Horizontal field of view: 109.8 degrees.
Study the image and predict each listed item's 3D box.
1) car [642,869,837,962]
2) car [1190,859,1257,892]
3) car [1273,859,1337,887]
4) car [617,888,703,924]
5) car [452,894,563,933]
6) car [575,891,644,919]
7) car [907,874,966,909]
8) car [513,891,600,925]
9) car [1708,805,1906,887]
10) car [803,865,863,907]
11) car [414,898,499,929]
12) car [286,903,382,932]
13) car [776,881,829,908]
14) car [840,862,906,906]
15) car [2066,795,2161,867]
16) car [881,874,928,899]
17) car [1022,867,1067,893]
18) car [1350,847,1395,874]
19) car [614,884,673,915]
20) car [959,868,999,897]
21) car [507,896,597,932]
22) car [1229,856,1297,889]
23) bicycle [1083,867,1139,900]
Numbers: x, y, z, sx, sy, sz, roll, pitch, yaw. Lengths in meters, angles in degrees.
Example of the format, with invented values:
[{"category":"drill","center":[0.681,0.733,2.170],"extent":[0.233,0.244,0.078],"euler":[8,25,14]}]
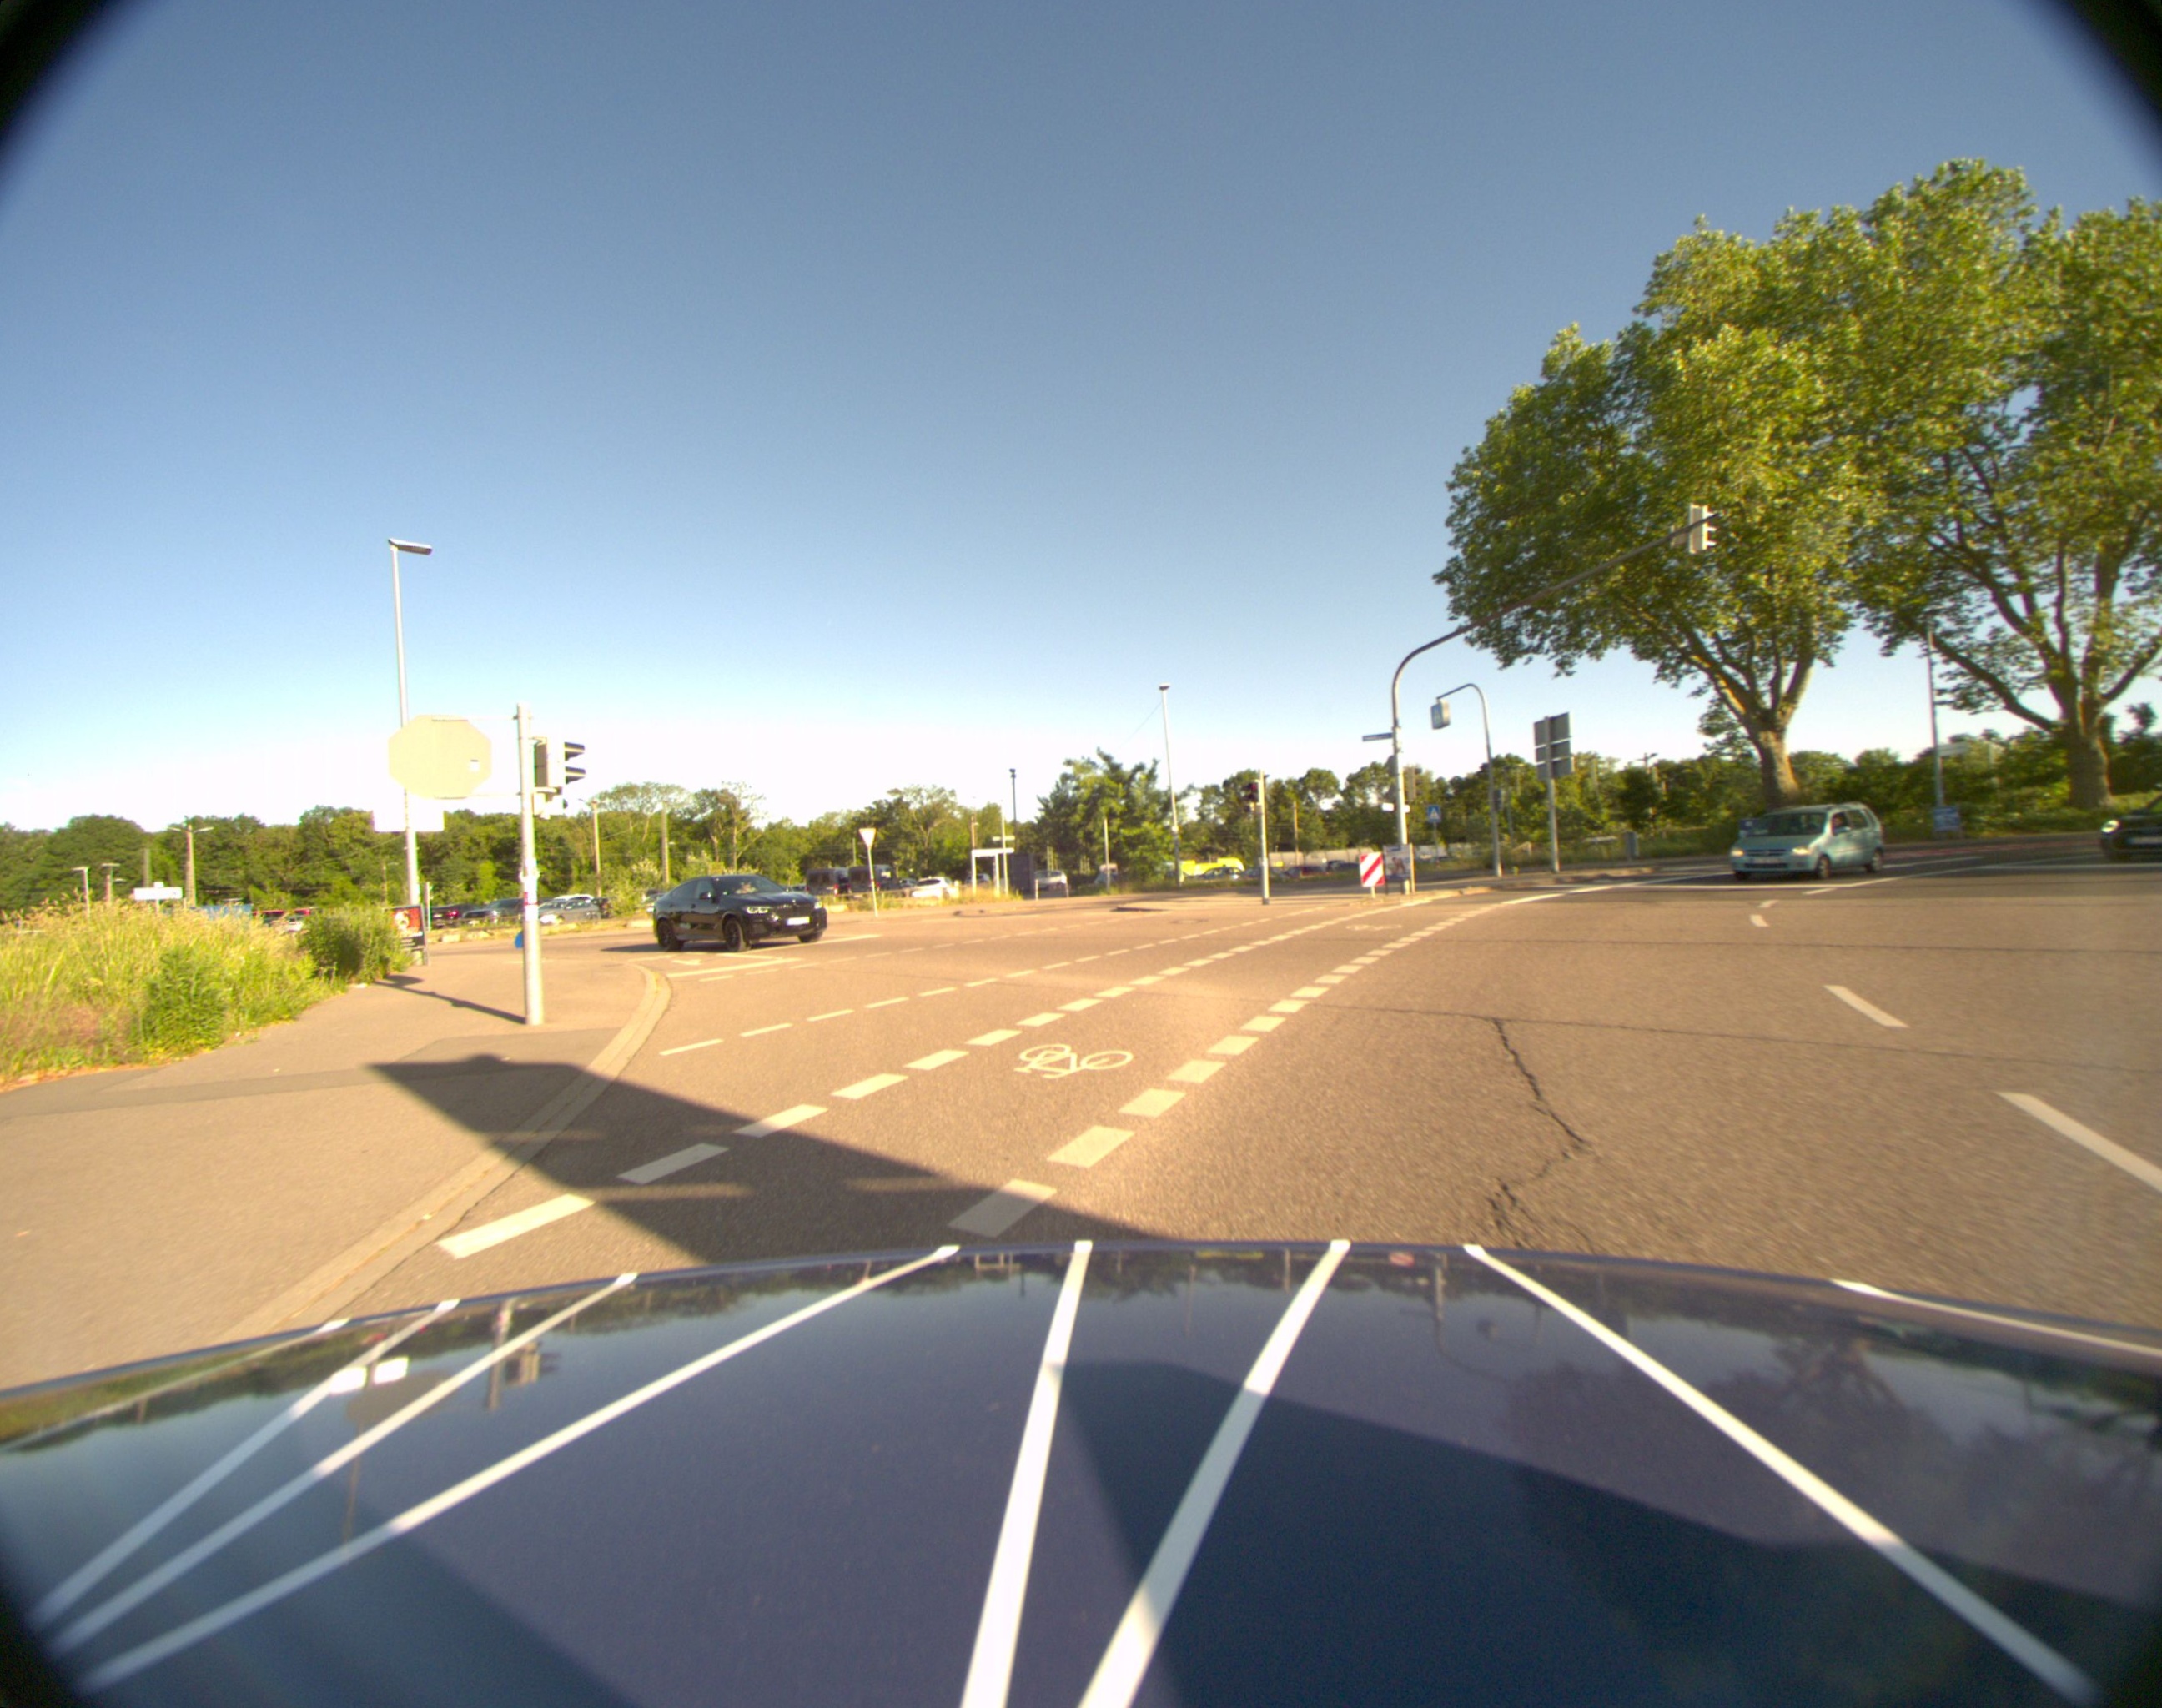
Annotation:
[{"category":"car","center":[-7.824,1.337,17.214],"extent":[4.738,1.704,2.052],"euler":[-3,0,39]},{"category":"car","center":[7.978,1.198,42.901],"extent":[2.015,1.655,3.846],"euler":[-4,0,-18]},{"category":"car","center":[12.909,1.080,44.030],"extent":[1.730,1.450,3.996],"euler":[-4,0,-13]},{"category":"car","center":[-21.339,2.607,38.729],"extent":[1.854,1.506,4.002],"euler":[-4,-1,4]},{"category":"car","center":[-29.487,3.015,39.274],"extent":[2.066,1.732,4.541],"euler":[-4,-3,3]},{"category":"car","center":[-31.350,3.357,50.706],"extent":[1.889,1.479,3.943],"euler":[-4,0,4]},{"category":"car","center":[-7.261,1.858,38.673],"extent":[1.890,1.502,4.275],"euler":[-4,0,3]},{"category":"car","center":[-34.475,3.503,50.157],"extent":[2.037,1.685,4.703],"euler":[-4,1,6]},{"category":"car","center":[17.194,-0.202,17.996],"extent":[4.125,1.626,1.917],"euler":[-4,0,-24]},{"category":"car","center":[-15.851,2.002,48.898],"extent":[2.127,2.452,4.483],"euler":[-4,-1,2]},{"category":"car","center":[-41.613,3.958,50.758],"extent":[1.985,1.580,4.203],"euler":[-4,1,2]},{"category":"car","center":[-49.780,4.210,50.802],"extent":[1.868,1.434,4.448],"euler":[-4,0,2]},{"category":"car","center":[-18.504,2.667,50.643],"extent":[1.832,1.499,3.753],"euler":[-4,-1,3]},{"category":"car","center":[-13.310,1.870,48.995],"extent":[2.400,2.501,5.513],"euler":[-4,-1,2]},{"category":"car","center":[23.403,-0.559,15.885],"extent":[3.937,1.419,1.907],"euler":[-3,0,-13]},{"category":"car","center":[-12.678,2.309,54.905],"extent":[1.984,1.490,4.204],"euler":[-4,0,5]},{"category":"car","center":[-2.767,1.882,56.189],"extent":[2.179,1.720,4.487],"euler":[-4,0,-17]},{"category":"car","center":[21.948,0.475,57.408],"extent":[2.197,1.827,5.030],"euler":[-4,-1,10]},{"category":"car","center":[-28.991,2.991,50.491],"extent":[1.770,1.723,3.778],"euler":[-4,1,-3]},{"category":"car","center":[-7.302,2.001,54.684],"extent":[1.985,1.798,4.203],"euler":[-4,0,3]},{"category":"car","center":[-26.966,3.019,38.920],"extent":[1.838,1.445,3.925],"euler":[-4,-1,-1]},{"category":"car","center":[10.303,1.043,43.307],"extent":[1.842,1.673,3.995],"euler":[-4,0,-18]},{"category":"bicycle","center":[1.599,1.603,40.704],"extent":[2.948,1.606,0.908],"euler":[-4,0,39]}]
